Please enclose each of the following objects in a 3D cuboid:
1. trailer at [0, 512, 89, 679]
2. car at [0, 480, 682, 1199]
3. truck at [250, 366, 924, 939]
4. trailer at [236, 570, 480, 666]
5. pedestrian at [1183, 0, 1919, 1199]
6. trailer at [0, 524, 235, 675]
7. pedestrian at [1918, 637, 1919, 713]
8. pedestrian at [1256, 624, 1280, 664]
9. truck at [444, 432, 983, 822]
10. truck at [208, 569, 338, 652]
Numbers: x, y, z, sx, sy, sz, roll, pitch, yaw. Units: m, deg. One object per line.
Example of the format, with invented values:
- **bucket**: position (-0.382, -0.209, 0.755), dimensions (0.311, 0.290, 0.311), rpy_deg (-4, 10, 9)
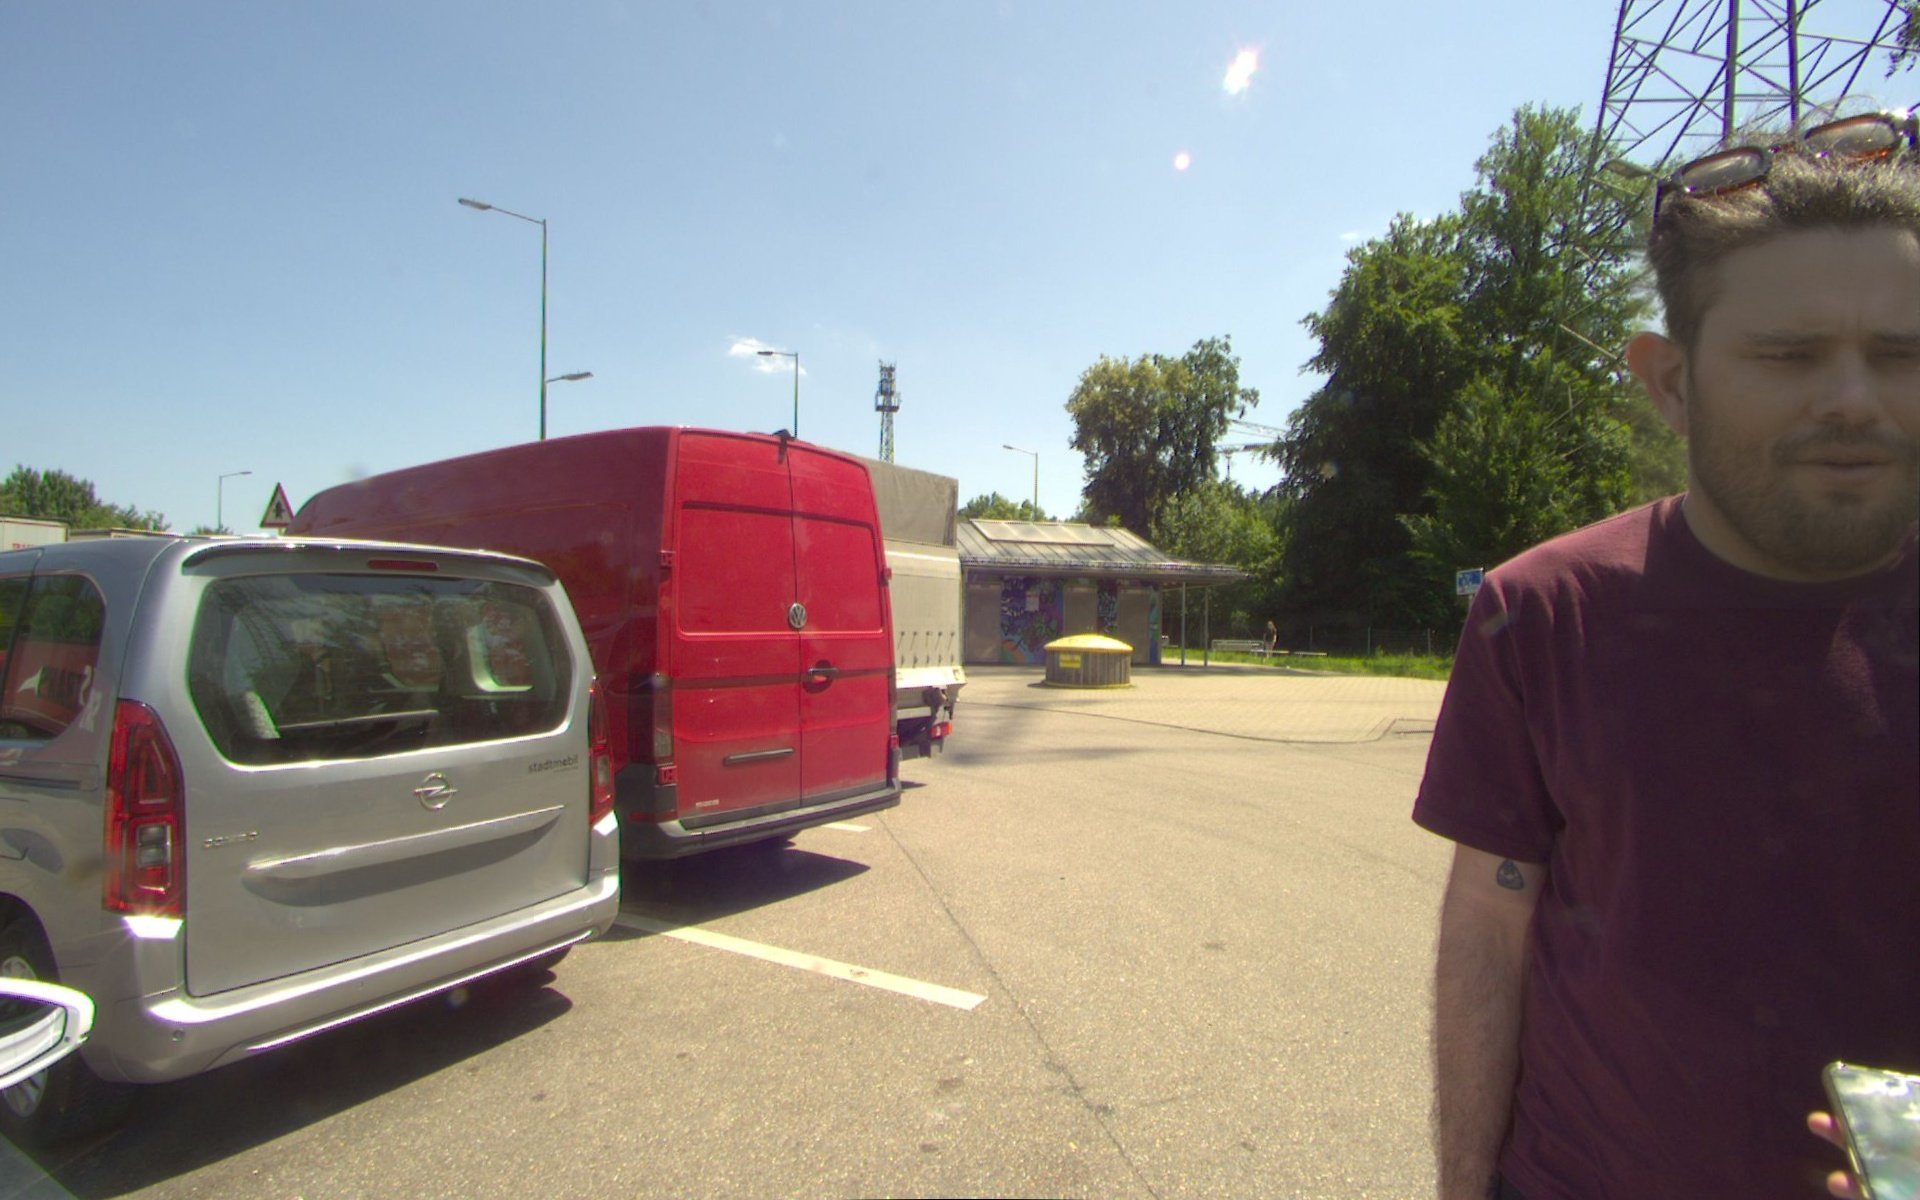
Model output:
- **trailer**: position (-29.011, -0.261, 28.133), dimensions (14.184, 4.040, 2.808), rpy_deg (2, -2, 33)
- **car**: position (-3.378, 0.685, 4.239), dimensions (4.113, 1.887, 1.868), rpy_deg (1, -2, 31)
- **truck**: position (-2.885, 0.335, 7.038), dimensions (5.238, 2.655, 1.972), rpy_deg (-2, -2, 38)
- **trailer**: position (-26.093, 0.645, 42.894), dimensions (14.184, 3.552, 2.808), rpy_deg (2, -2, 33)
- **pedestrian**: position (0.759, 0.566, 0.804), dimensions (0.850, 1.857, 0.859), rpy_deg (-1, -2, 37)
- **trailer**: position (-27.947, -0.103, 31.779), dimensions (14.184, 4.040, 2.808), rpy_deg (2, -2, 33)
- **pedestrian**: position (17.263, 1.320, 17.466), dimensions (0.690, 1.352, 0.561), rpy_deg (-1, -1, 33)
- **pedestrian**: position (12.877, 1.836, 41.861), dimensions (0.728, 1.658, 0.786), rpy_deg (-1, -2, 40)
- **truck**: position (-2.733, 0.303, 10.277), dimensions (5.582, 2.949, 2.449), rpy_deg (-2, -2, 37)
- **truck**: position (-32.087, 0.466, 46.752), dimensions (5.813, 3.566, 2.799), rpy_deg (2, -2, 33)
